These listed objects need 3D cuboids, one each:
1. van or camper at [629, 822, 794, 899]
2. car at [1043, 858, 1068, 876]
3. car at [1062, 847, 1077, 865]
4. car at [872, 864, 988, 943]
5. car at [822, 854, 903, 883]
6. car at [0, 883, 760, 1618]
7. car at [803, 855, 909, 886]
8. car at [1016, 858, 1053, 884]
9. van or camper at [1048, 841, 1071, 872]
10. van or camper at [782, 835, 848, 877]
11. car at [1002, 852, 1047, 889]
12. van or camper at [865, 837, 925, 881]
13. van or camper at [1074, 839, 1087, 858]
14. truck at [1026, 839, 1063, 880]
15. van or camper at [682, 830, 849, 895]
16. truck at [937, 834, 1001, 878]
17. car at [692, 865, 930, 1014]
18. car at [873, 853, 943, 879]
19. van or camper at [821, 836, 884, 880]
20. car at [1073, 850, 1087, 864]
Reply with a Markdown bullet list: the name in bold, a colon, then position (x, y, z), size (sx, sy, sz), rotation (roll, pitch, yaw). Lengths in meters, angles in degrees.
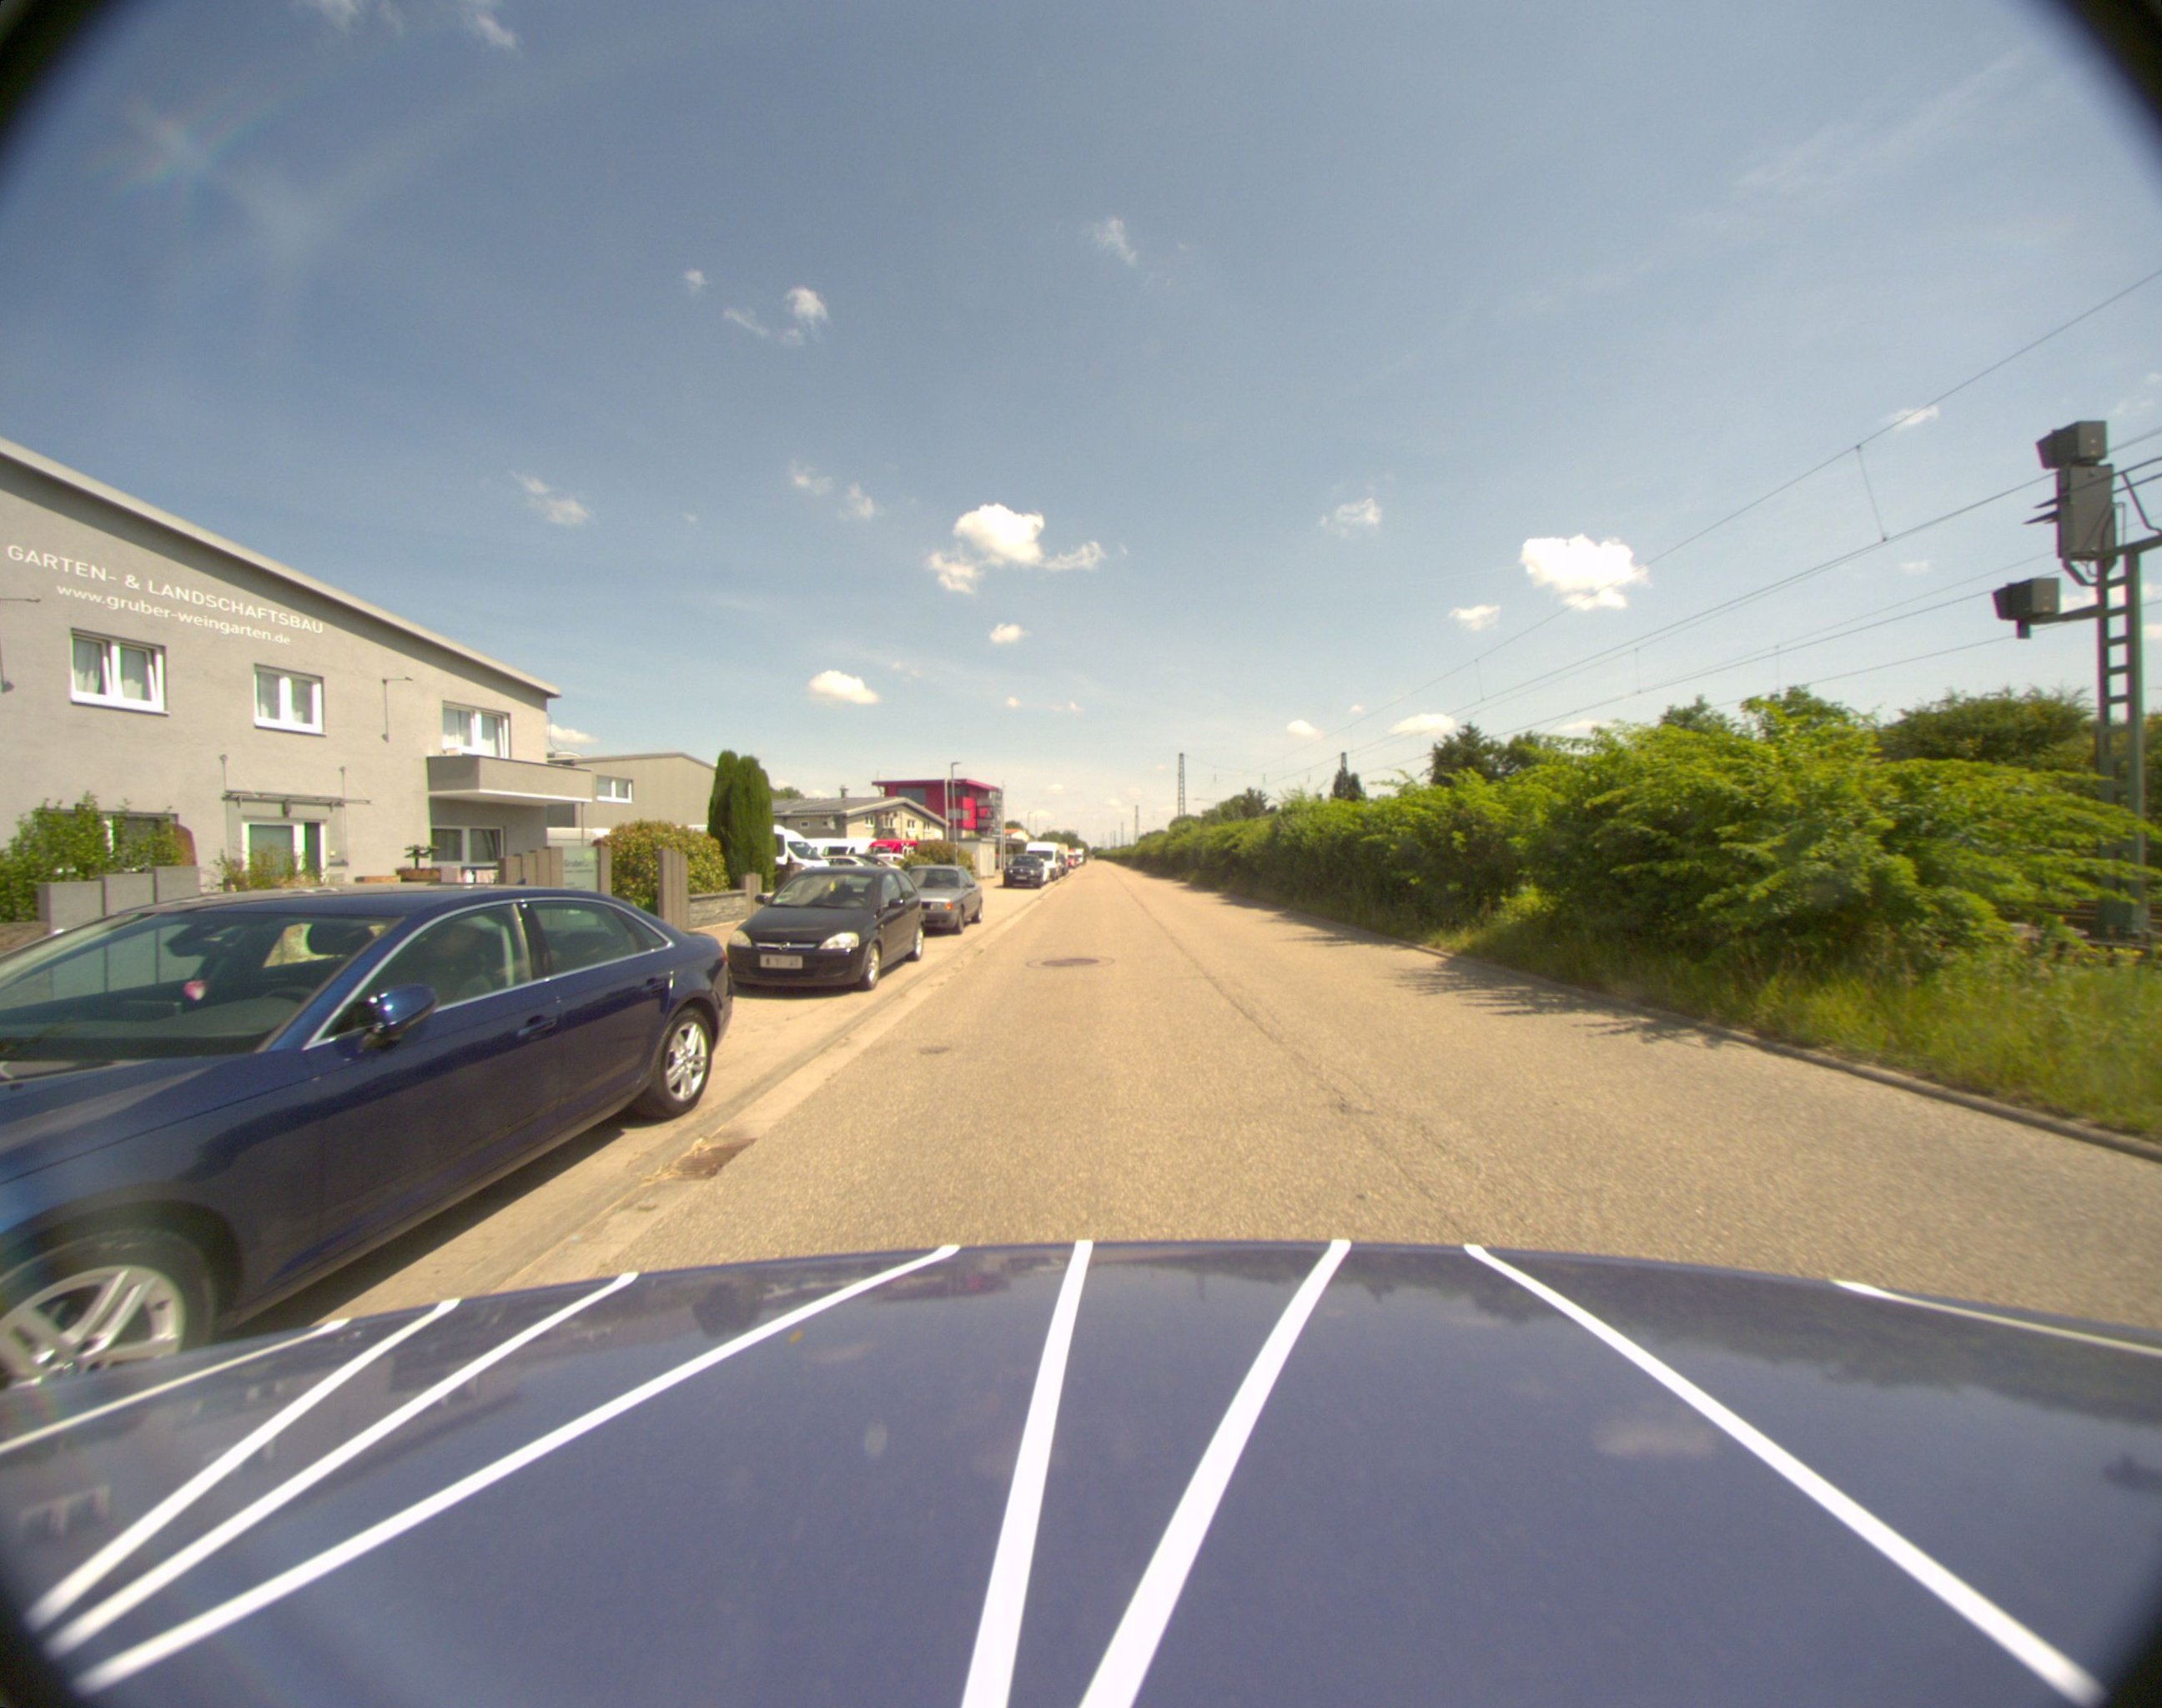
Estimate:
- **van or camper**: position (-12.875, 0.217, 26.570), size (5.098, 2.519, 2.002), rotation (0, 0, 15)
- **car**: position (-2.081, 1.038, 63.071), size (1.805, 1.361, 3.756), rotation (-3, 0, 1)
- **car**: position (-1.507, 0.212, 98.562), size (1.742, 2.258, 4.020), rotation (-1, 1, 1)
- **car**: position (-3.142, 0.971, 16.583), size (1.618, 1.415, 4.195), rotation (1, 0, 1)
- **car**: position (-11.377, 0.748, 39.682), size (3.702, 1.478, 1.714), rotation (0, 0, 2)
- **car**: position (-3.250, 0.953, 3.149), size (1.766, 1.464, 4.718), rotation (1, 0, 1)
- **car**: position (-10.821, 0.772, 36.748), size (4.605, 1.478, 1.714), rotation (0, 0, 2)
- **car**: position (-2.643, 0.963, 44.108), size (1.805, 1.410, 3.757), rotation (1, 0, 1)
- **van or camper**: position (-2.024, 0.195, 72.985), size (1.998, 2.854, 4.395), rotation (-1, 1, 1)
- **van or camper**: position (-17.947, 0.119, 51.541), size (2.104, 2.752, 4.901), rotation (0, 0, 10)
- **car**: position (-2.732, 0.777, 37.661), size (1.805, 1.692, 4.000), rotation (1, 0, 1)
- **van or camper**: position (-12.202, 0.286, 50.130), size (2.037, 2.752, 4.901), rotation (0, 0, 10)
- **van or camper**: position (-0.044, -1.086, 148.613), size (2.333, 3.497, 4.770), rotation (-2, 1, 1)
- **truck**: position (-2.324, 0.340, 50.092), size (1.998, 2.550, 5.290), rotation (0, 0, 2)
- **van or camper**: position (-12.296, 0.304, 29.733), size (5.831, 2.423, 2.136), rotation (0, 0, 12)
- **truck**: position (-7.159, 0.136, 49.309), size (2.381, 2.673, 5.788), rotation (0, 0, 10)
- **car**: position (-3.182, 0.917, 9.807), size (1.618, 1.464, 3.876), rotation (1, 0, 1)
- **car**: position (-10.112, 0.696, 44.556), size (3.702, 1.478, 1.714), rotation (0, 0, 2)
- **van or camper**: position (-15.230, 0.248, 50.976), size (2.095, 2.752, 4.901), rotation (0, 0, 10)
- **car**: position (-0.120, 0.461, 120.285), size (1.998, 2.002, 4.000), rotation (-2, 1, 1)
